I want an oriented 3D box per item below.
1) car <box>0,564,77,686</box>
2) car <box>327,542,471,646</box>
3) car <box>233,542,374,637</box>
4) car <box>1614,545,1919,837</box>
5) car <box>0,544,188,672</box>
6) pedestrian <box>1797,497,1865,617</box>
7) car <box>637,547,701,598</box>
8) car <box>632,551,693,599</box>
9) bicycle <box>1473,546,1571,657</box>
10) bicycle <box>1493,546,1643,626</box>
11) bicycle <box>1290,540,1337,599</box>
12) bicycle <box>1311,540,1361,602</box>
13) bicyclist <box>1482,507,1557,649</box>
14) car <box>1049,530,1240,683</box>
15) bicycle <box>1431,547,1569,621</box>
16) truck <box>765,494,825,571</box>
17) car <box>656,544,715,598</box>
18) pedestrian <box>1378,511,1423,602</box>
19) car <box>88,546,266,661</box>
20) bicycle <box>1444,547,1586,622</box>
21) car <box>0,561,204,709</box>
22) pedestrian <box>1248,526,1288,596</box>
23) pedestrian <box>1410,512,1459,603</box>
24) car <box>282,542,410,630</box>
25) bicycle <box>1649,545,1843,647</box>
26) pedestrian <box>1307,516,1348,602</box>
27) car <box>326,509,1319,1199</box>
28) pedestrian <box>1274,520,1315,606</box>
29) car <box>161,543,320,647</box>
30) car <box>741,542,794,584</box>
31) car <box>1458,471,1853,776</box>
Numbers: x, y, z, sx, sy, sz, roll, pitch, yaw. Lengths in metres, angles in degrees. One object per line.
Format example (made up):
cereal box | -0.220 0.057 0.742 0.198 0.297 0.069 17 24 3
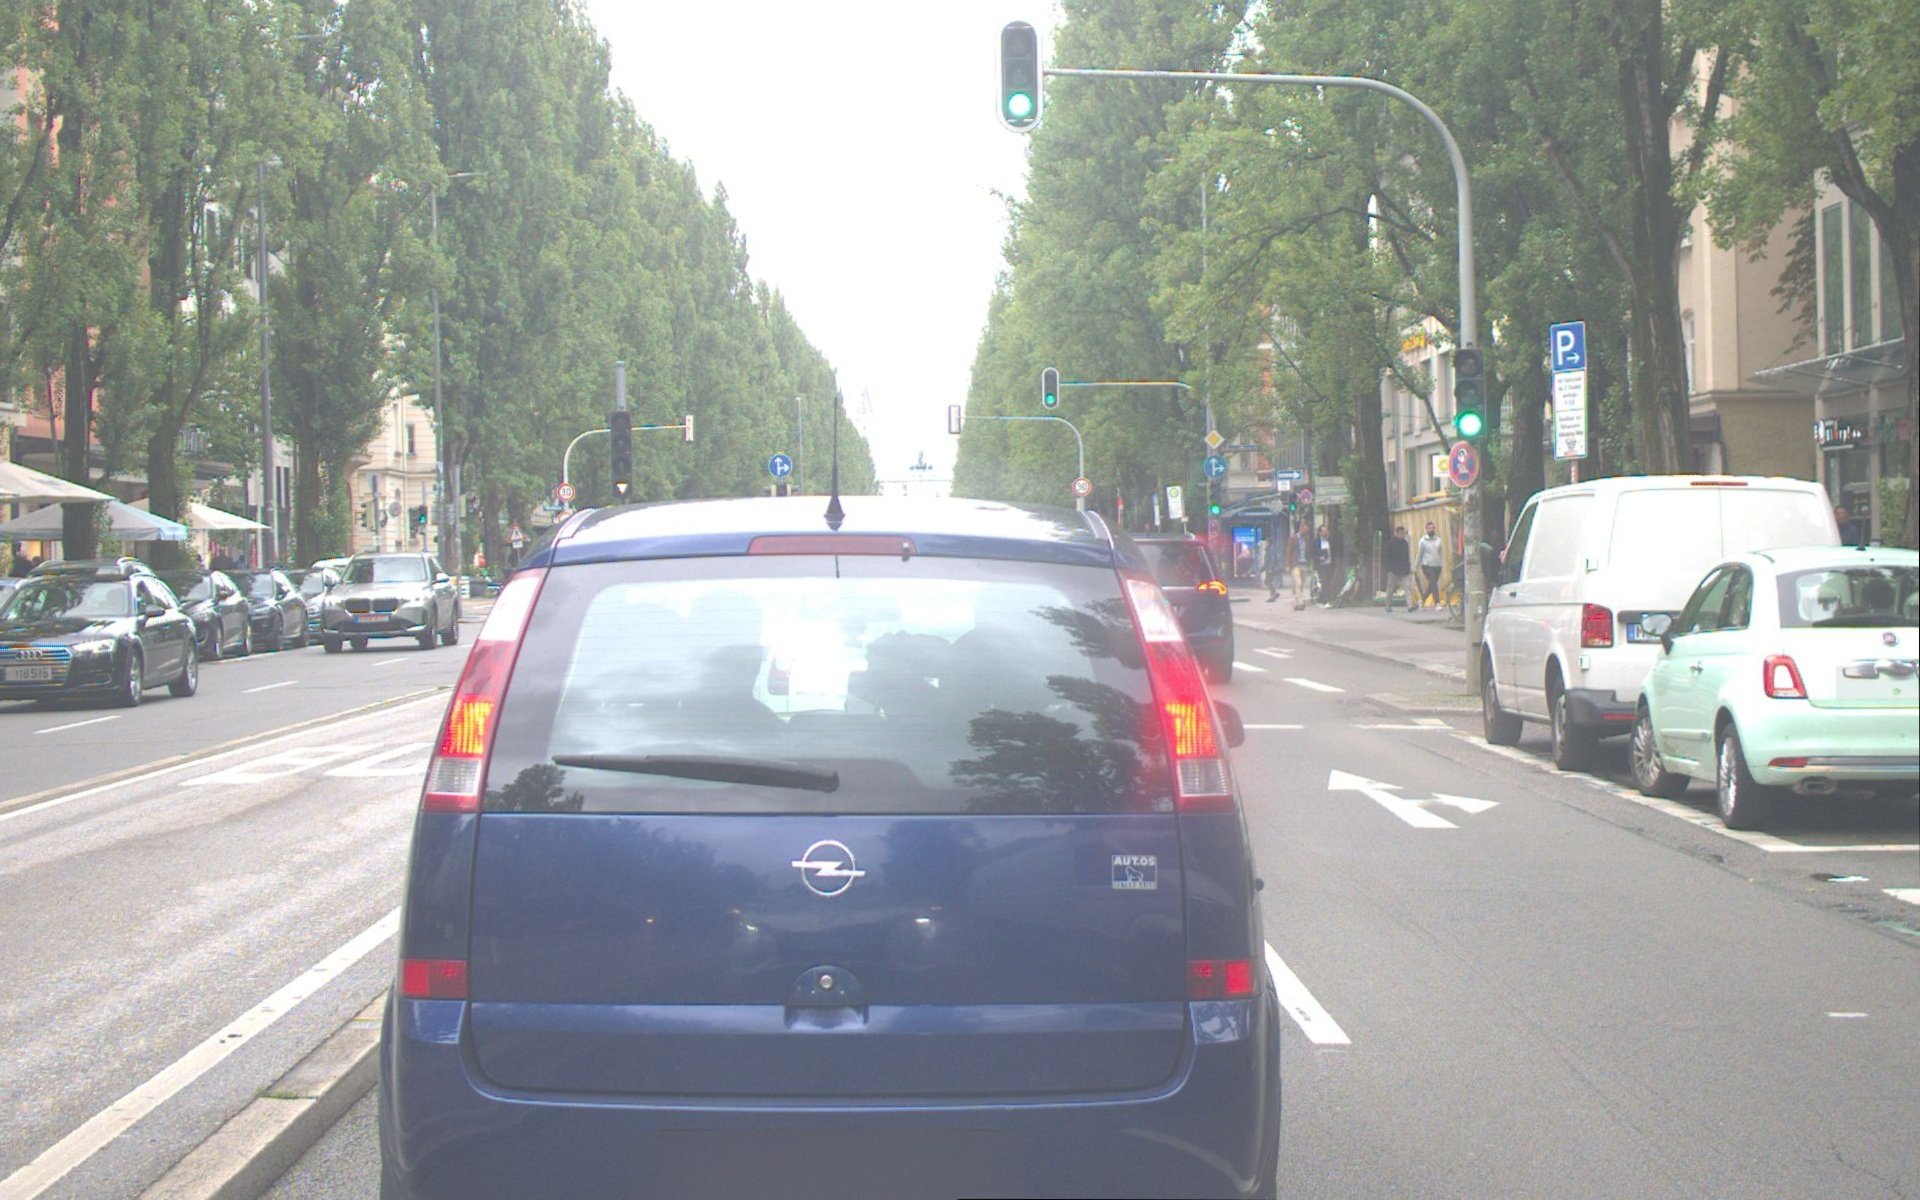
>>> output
car | -12.362 0.321 42.636 1.733 1.421 4.144 -3 1 -1
car | -9.450 -0.127 58.176 1.770 1.629 4.456 -2 1 -1
car | -12.468 -0.223 65.510 1.866 1.660 4.120 -3 1 -1
car | 4.782 0.437 19.326 1.541 1.487 3.523 0 1 0
car | -12.378 0.077 48.685 1.866 1.660 4.401 -3 1 -1
pedestrian | 12.417 -0.616 49.020 0.673 1.680 0.759 -2 0 -5
car | -9.942 -0.950 117.726 1.866 1.660 4.120 -1 1 -1
car | -10.766 -0.905 124.600 1.866 1.660 4.120 -1 1 -1
bicycle | 7.056 0.003 43.294 0.772 1.344 2.449 -1 1 -1
bicycle | 9.616 -0.222 54.403 2.227 1.200 0.626 -1 1 -2
bicycle | 8.323 -0.729 81.026 0.772 1.344 2.449 -1 1 -1
bicycle | 8.296 -0.646 75.932 0.772 1.344 2.449 -1 1 -1
bicyclist | 7.055 -0.288 43.350 0.767 1.760 0.885 -1 1 -1
car | 2.010 0.032 38.533 1.896 1.616 4.000 0 1 0
bicycle | 9.209 -0.282 58.694 2.227 1.200 0.626 -1 1 -2
truck | -7.371 -3.012 154.287 2.383 3.335 7.111 -1 1 -1
car | -10.526 -1.137 132.129 1.993 2.007 4.000 -1 1 -1
pedestrian | 8.849 -0.869 69.061 0.636 1.820 0.888 1 0 -10
car | -12.418 0.024 54.737 1.866 1.660 4.120 -3 1 -1
bicycle | 9.251 -0.263 57.315 2.227 1.200 0.626 -1 1 -2
car | -9.500 0.346 37.115 1.745 1.429 4.130 -3 1 -1
pedestrian | 7.783 -0.995 86.959 0.882 1.760 0.770 -1 1 -3
pedestrian | 9.561 -0.851 69.316 0.719 1.820 0.888 1 0 -10
car | -12.599 -0.311 70.771 1.866 1.660 4.120 -3 1 -1
bicycle | 9.699 -0.051 42.441 2.227 1.200 0.626 -1 1 -2
pedestrian | 7.872 -0.879 73.684 0.636 1.820 0.888 1 0 -10
car | -0.244 0.591 7.796 1.671 1.563 4.000 0 1 0
pedestrian | 7.145 -0.786 73.426 0.636 1.820 0.888 1 0 -10
car | -12.507 -0.116 59.984 1.866 1.660 4.120 -3 1 -1
car | -6.939 -1.342 124.195 1.735 1.460 3.365 -1 1 -1
car | 4.798 0.108 24.377 1.787 1.939 4.731 0 1 -1
